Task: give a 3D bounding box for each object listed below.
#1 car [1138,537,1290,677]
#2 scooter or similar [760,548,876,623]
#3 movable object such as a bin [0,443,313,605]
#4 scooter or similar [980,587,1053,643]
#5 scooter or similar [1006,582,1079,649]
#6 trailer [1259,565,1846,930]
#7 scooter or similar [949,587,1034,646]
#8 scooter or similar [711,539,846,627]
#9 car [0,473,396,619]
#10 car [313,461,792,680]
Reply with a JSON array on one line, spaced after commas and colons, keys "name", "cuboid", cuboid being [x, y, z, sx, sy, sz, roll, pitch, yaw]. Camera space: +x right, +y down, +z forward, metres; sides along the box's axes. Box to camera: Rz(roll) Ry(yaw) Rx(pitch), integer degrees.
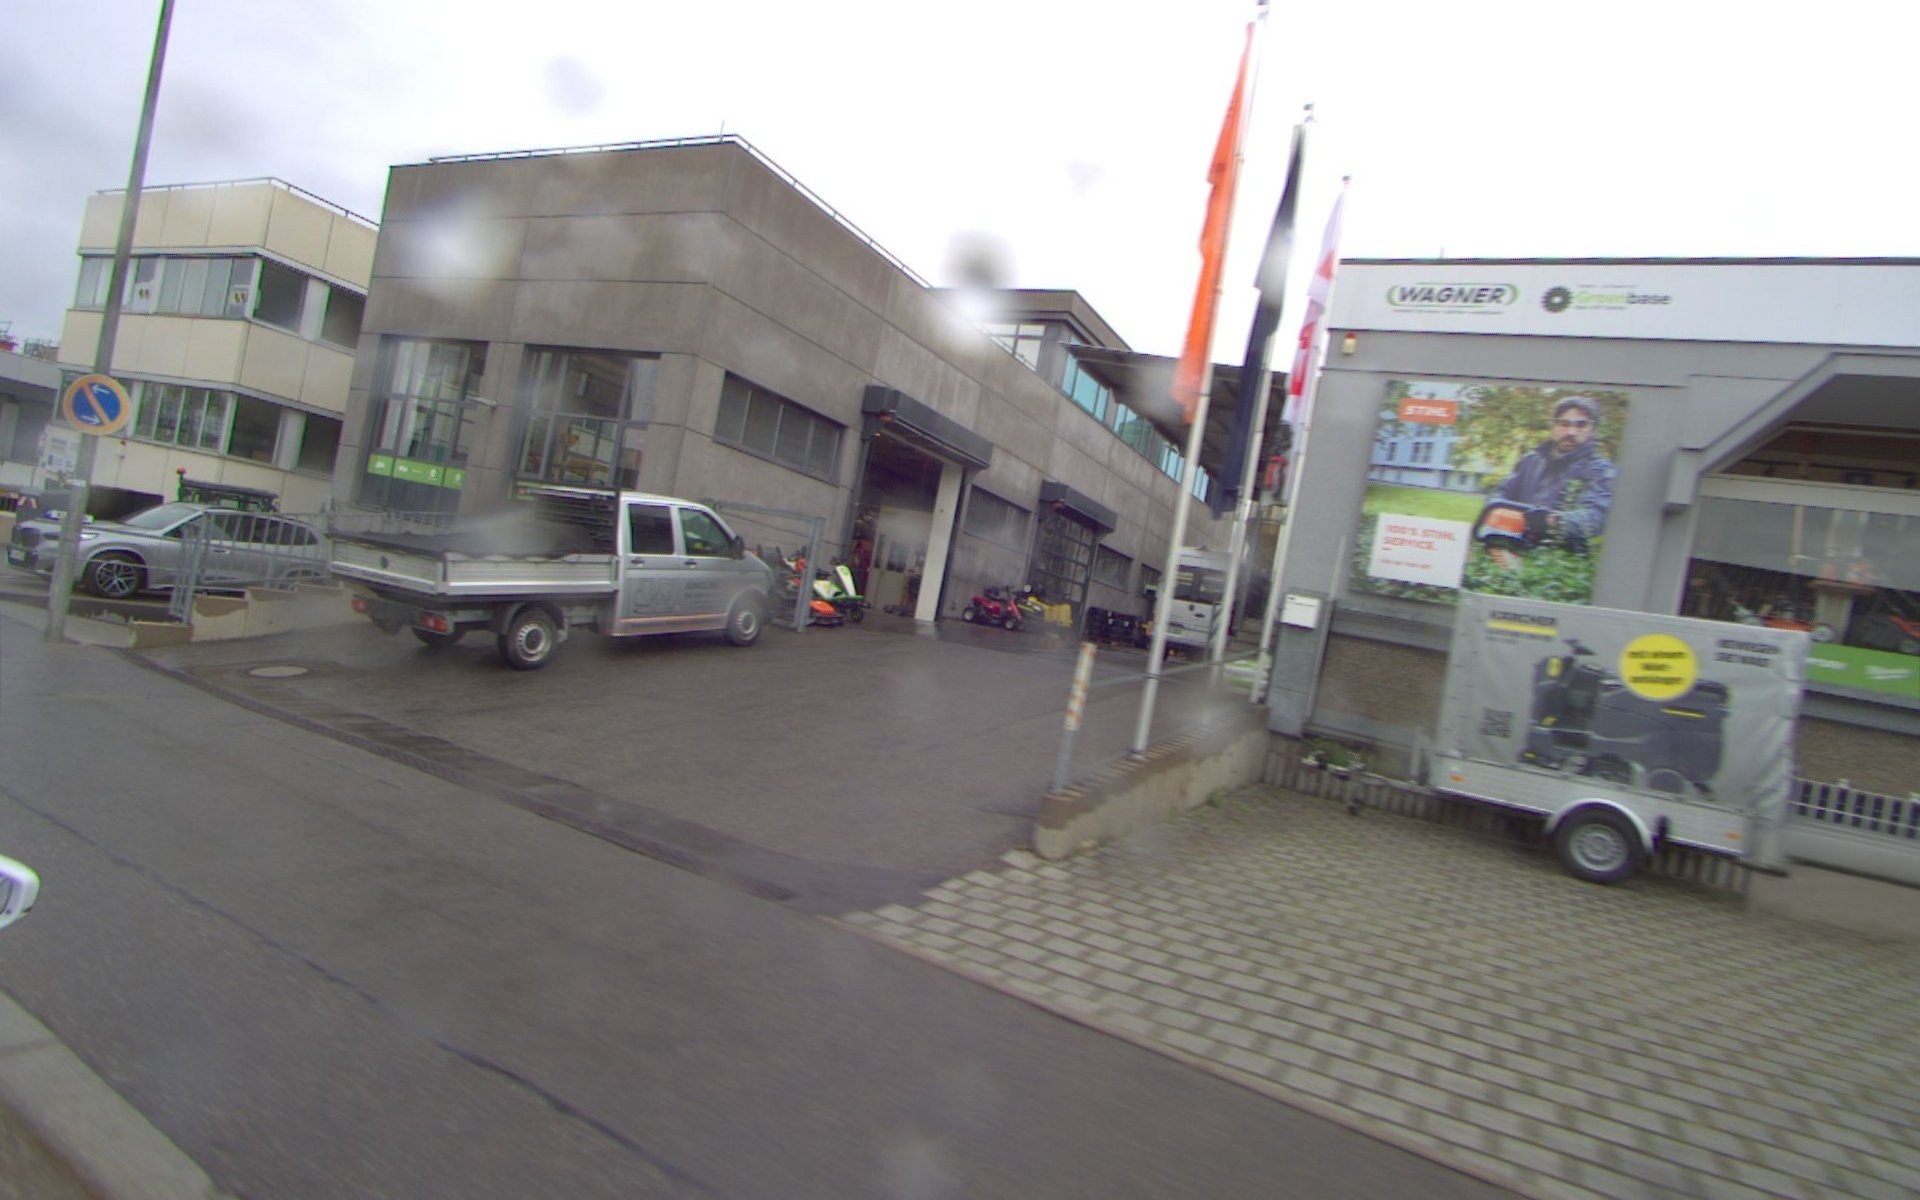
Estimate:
[{"name": "car", "cuboid": [6.313, 0.304, 24.457, 1.965, 2.651, 5.405, 10, 0, 28]}, {"name": "scooter or similar", "cuboid": [-2.629, -0.272, 18.633, 1.814, 1.170, 1.004, 7, 2, 32]}, {"name": "movable object such as a bin", "cuboid": [-14.180, -1.228, 17.763, 1.451, 2.135, 4.264, 8, -1, 29]}, {"name": "scooter or similar", "cuboid": [1.493, 0.405, 26.541, 1.561, 1.233, 0.934, 7, -1, 25]}, {"name": "scooter or similar", "cuboid": [2.263, 0.427, 27.581, 1.561, 1.598, 0.966, 7, -1, 25]}, {"name": "trailer", "cuboid": [5.425, 1.216, 9.791, 4.235, 2.445, 1.891, 8, -1, 30]}, {"name": "scooter or similar", "cuboid": [0.786, 0.406, 25.072, 1.739, 1.188, 1.000, 7, -1, 30]}, {"name": "scooter or similar", "cuboid": [-3.171, -0.298, 17.535, 2.030, 1.241, 1.065, 9, 3, 32]}, {"name": "car", "cuboid": [-12.575, -0.780, 16.885, 1.891, 1.632, 5.104, 8, -1, 28]}, {"name": "car", "cuboid": [-4.641, -0.441, 12.469, 2.183, 2.043, 5.294, 6, 5, 28]}]
